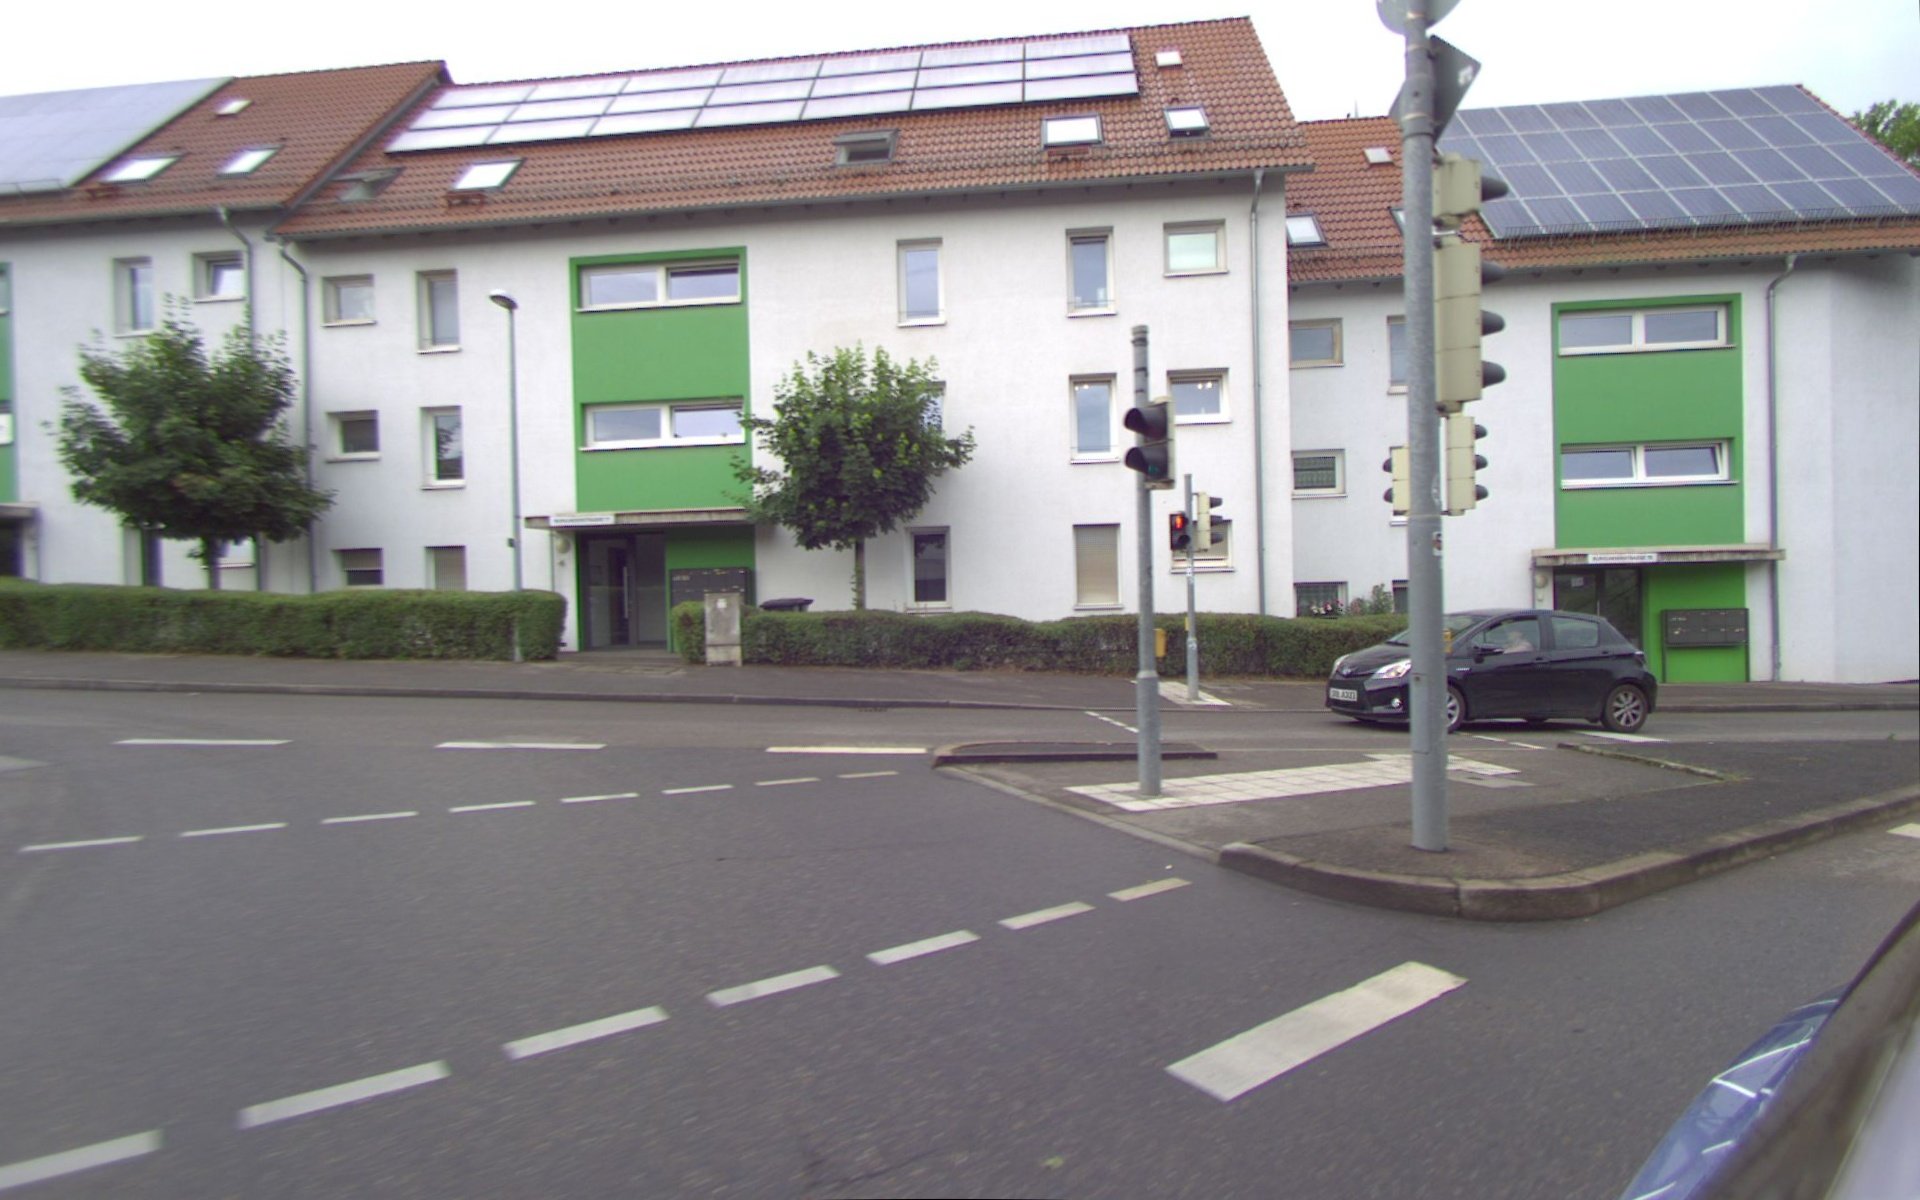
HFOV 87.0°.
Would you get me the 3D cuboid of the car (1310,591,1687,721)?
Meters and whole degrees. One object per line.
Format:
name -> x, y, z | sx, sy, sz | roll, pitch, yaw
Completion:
car -> 6.616, 0.680, 12.617 | 3.918, 1.477, 1.648 | 1, -1, -8
